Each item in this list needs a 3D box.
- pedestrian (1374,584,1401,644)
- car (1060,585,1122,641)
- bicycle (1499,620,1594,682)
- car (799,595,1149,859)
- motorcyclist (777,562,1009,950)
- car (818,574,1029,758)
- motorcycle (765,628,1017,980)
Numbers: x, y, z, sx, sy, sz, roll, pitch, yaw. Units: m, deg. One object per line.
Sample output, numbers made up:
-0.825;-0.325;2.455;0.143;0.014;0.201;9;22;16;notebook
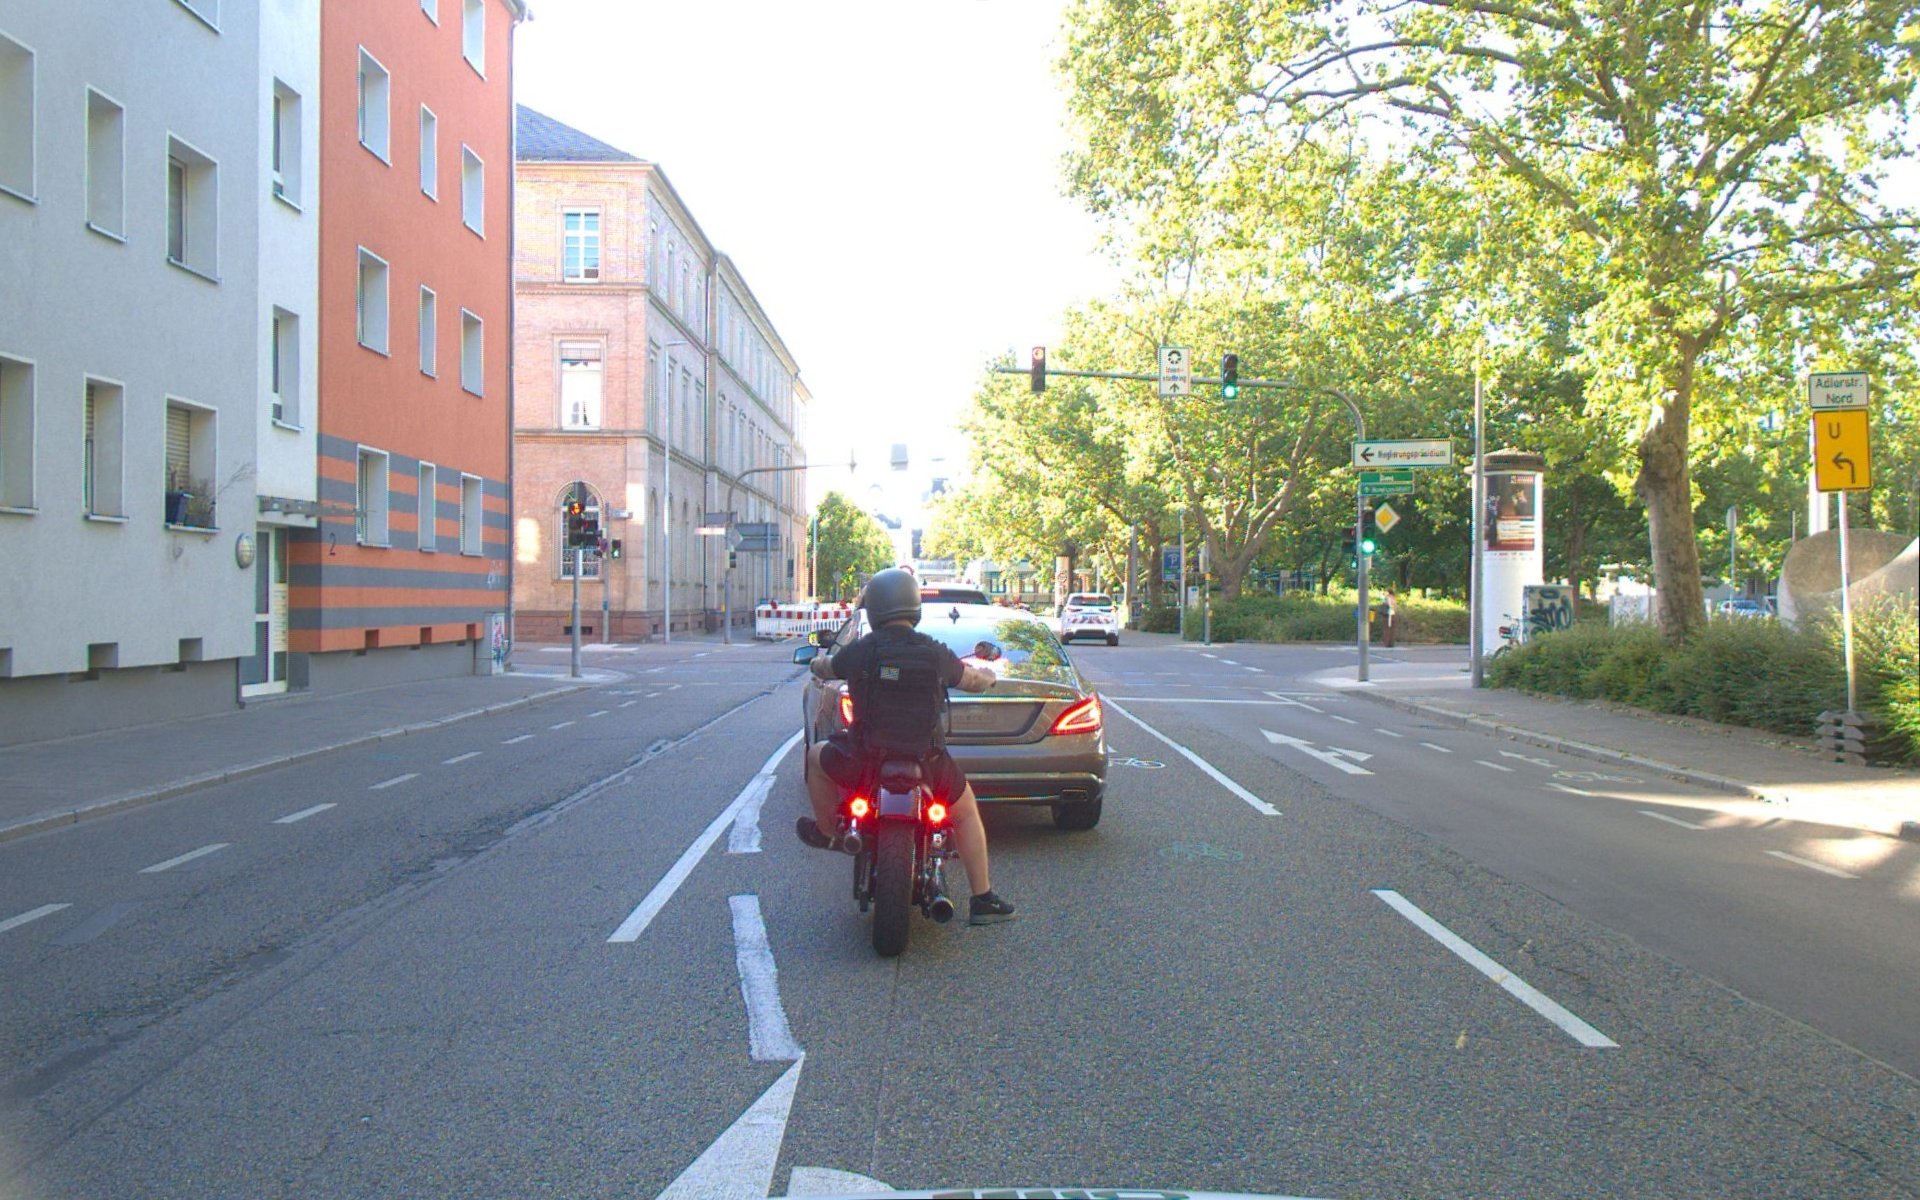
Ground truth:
13.146;0.432;50.823;0.664;1.803;0.616;1;-1;29;pedestrian
4.379;0.393;54.946;1.902;1.738;4.486;2;0;5;car
9.782;0.842;27.596;1.452;0.997;0.299;1;-1;5;bicycle
-0.118;0.709;11.619;1.834;1.469;4.422;0;0;-8;car
-0.286;0.645;7.485;0.961;1.606;1.248;0;0;-1;motorcyclist
-0.367;0.633;17.539;1.953;1.695;3.999;1;0;-1;car
-0.282;0.806;7.557;0.961;1.297;2.407;0;0;-1;motorcycle
